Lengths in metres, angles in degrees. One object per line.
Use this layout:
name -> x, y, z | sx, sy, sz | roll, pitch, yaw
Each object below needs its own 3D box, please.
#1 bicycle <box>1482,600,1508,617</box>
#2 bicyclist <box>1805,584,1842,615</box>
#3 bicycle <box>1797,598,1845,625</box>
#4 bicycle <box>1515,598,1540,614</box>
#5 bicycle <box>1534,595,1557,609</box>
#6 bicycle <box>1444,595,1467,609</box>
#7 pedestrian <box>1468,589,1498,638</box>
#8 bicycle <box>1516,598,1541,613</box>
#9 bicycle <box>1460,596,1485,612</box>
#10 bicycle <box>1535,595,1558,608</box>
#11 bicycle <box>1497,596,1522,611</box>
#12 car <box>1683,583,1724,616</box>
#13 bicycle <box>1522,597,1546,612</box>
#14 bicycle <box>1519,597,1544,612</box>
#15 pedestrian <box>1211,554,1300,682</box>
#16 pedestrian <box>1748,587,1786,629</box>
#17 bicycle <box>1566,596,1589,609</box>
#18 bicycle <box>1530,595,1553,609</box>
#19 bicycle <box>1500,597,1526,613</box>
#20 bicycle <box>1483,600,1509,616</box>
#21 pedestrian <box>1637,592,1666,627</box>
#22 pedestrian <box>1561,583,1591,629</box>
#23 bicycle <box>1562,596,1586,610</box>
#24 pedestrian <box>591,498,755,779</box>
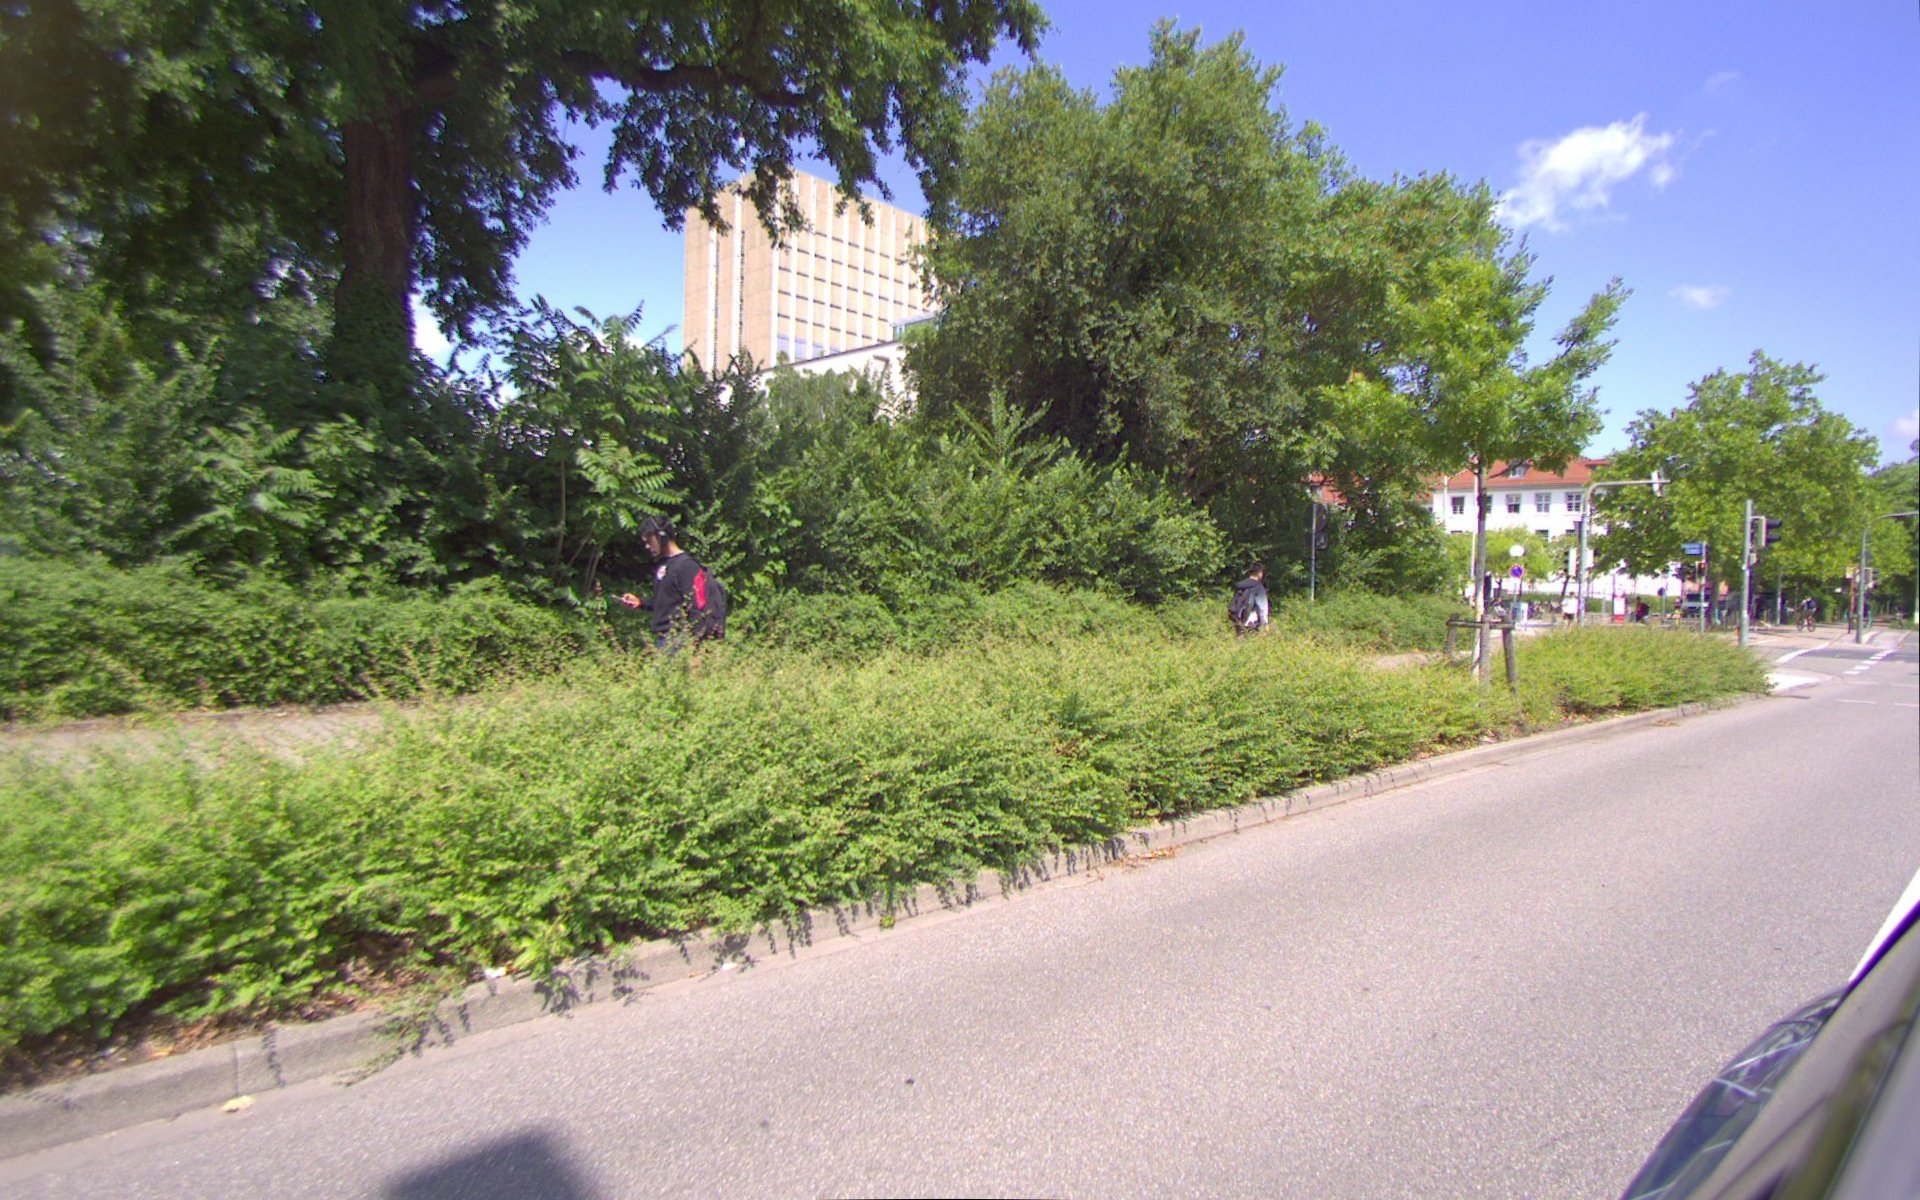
bicycle -> 33.438, 0.532, 63.280 | 1.367, 0.963, 0.347 | 2, 1, 43
bicyclist -> 41.799, -0.049, 49.003 | 0.957, 1.462, 1.072 | 1, 1, 13
bicycle -> 41.825, 0.538, 49.171 | 0.872, 1.267, 2.156 | 1, 1, 14
bicycle -> 36.448, 0.406, 64.994 | 1.367, 0.963, 0.347 | 2, 1, 43
bicycle -> 43.737, 0.129, 75.626 | 1.424, 0.963, 0.347 | 2, 1, 43
bicycle -> 34.490, 0.150, 70.426 | 1.365, 0.963, 0.347 | 2, 1, 40
pedestrian -> 17.992, 0.453, 34.807 | 0.632, 1.646, 0.636 | 1, 1, -7
bicycle -> 37.441, 0.343, 66.613 | 1.367, 0.963, 0.347 | 2, 1, 43
bicycle -> 33.291, 0.242, 65.744 | 1.367, 1.013, 0.347 | 2, 1, 43
bicycle -> 43.997, 0.123, 75.942 | 1.424, 0.963, 0.347 | 2, 1, 43
bicycle -> 37.576, 0.233, 69.195 | 1.408, 0.963, 0.347 | 2, 1, 43
car -> 50.247, -0.054, 68.363 | 1.991, 2.080, 4.169 | 2, 1, 39
bicycle -> 38.322, 0.293, 67.559 | 1.367, 0.963, 0.347 | 2, 1, 43
bicycle -> 37.922, 0.316, 67.165 | 1.367, 0.963, 0.347 | 2, 1, 43
pedestrian -> 4.198, 0.236, 14.379 | 0.913, 1.743, 0.815 | 0, 1, -41
pedestrian -> 38.153, 0.372, 47.873 | 0.951, 1.950, 1.034 | 1, 1, -21
bicycle -> 45.622, 0.183, 74.760 | 1.424, 0.963, 0.347 | 2, 1, 43
bicycle -> 43.217, 0.133, 75.223 | 1.424, 0.963, 0.347 | 2, 1, 43
bicycle -> 35.197, 0.342, 64.446 | 1.367, 0.963, 0.347 | 2, 1, 43
bicycle -> 33.775, 0.522, 63.740 | 1.367, 0.958, 0.347 | 2, 1, 43
pedestrian -> 32.317, 0.439, 47.326 | 1.056, 1.617, 0.960 | 1, 1, 33
pedestrian -> 25.970, 0.227, 42.666 | 0.876, 1.896, 0.957 | 2, 1, 44
bicycle -> 44.890, 0.196, 73.971 | 1.424, 0.963, 0.347 | 2, 1, 43
pedestrian -> -1.938, 0.229, 6.828 | 0.822, 1.743, 0.718 | 0, 1, -41
